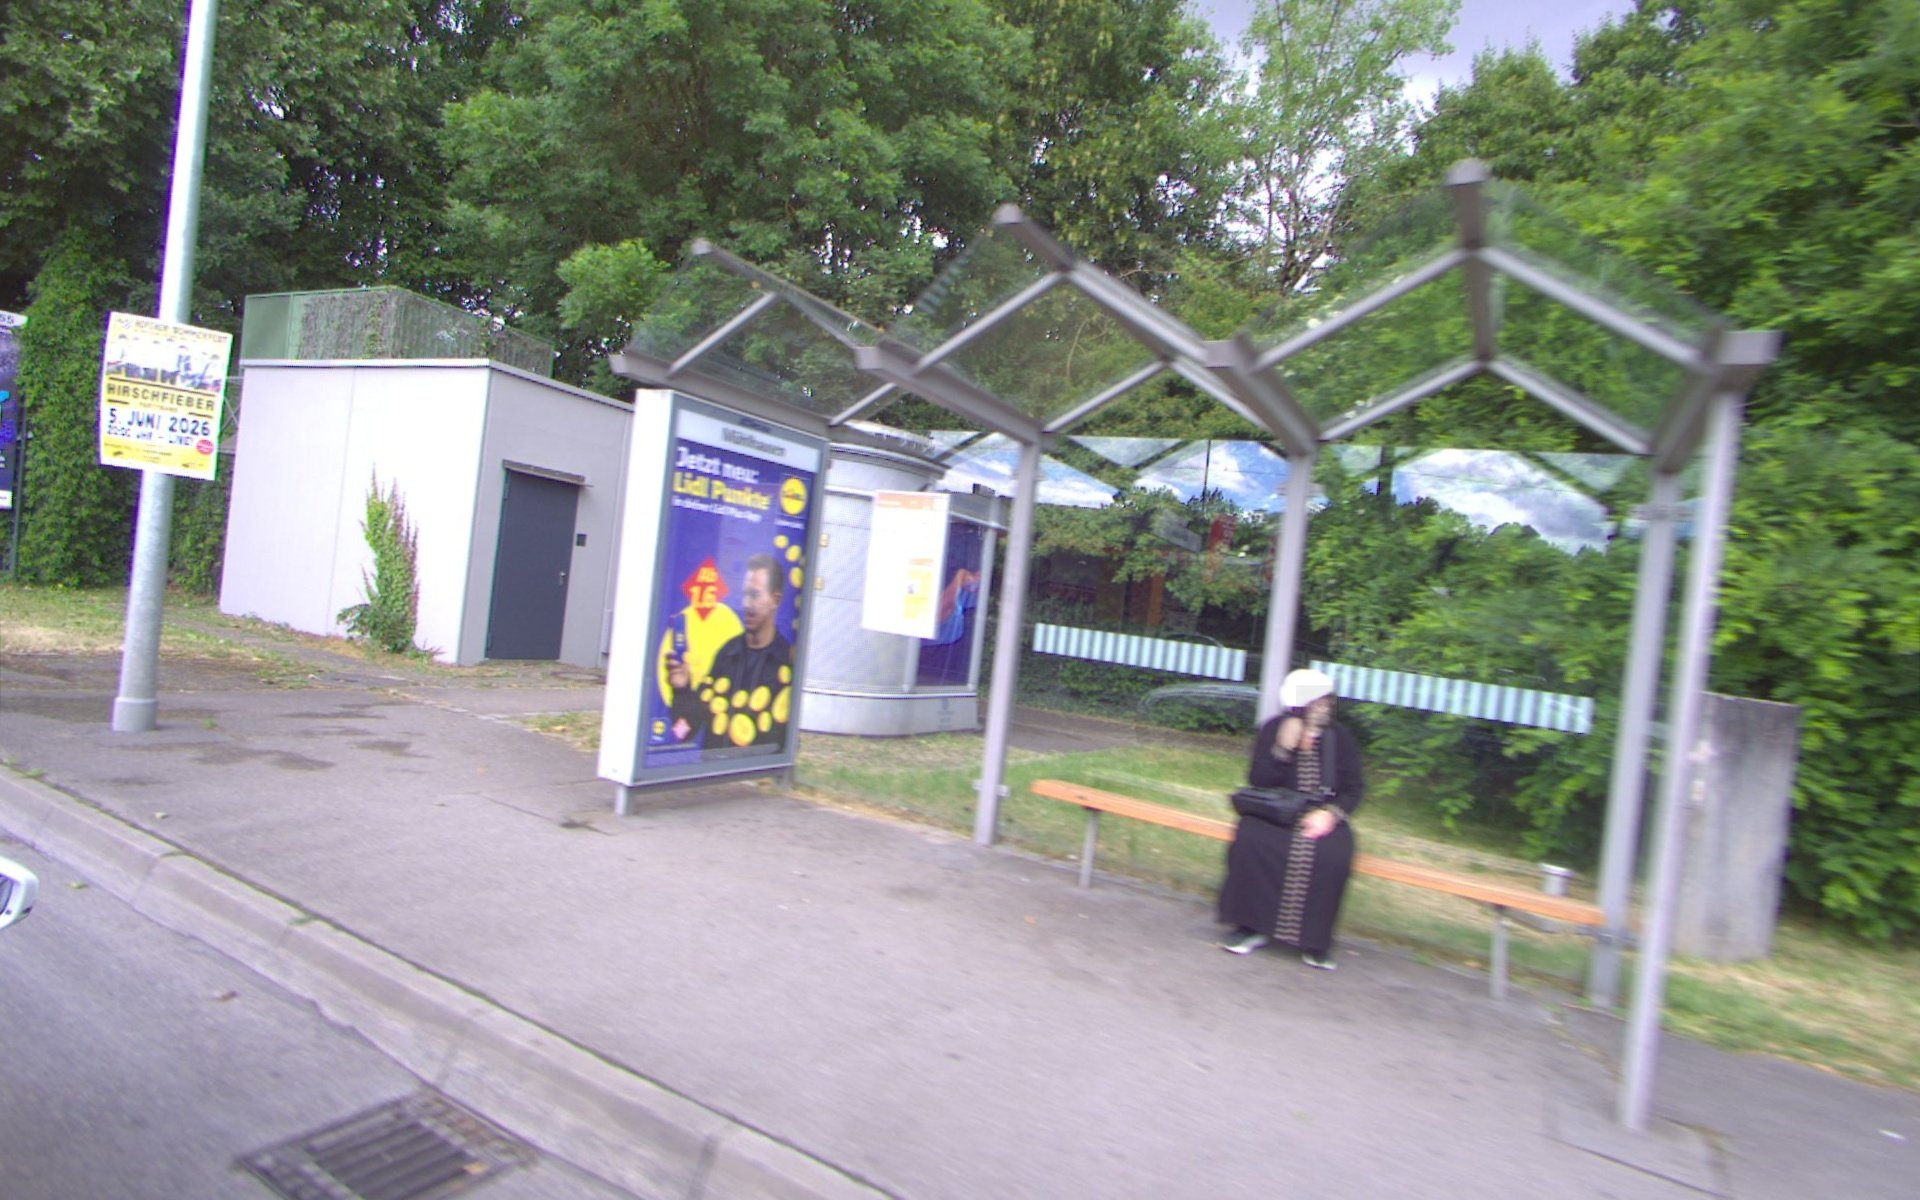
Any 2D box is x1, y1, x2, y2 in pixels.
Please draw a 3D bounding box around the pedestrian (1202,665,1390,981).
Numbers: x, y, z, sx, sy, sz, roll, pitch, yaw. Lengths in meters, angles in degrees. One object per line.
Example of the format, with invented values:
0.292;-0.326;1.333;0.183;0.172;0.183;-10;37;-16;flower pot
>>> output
1.457;0.903;4.336;0.537;1.173;0.601;7;2;30;pedestrian
